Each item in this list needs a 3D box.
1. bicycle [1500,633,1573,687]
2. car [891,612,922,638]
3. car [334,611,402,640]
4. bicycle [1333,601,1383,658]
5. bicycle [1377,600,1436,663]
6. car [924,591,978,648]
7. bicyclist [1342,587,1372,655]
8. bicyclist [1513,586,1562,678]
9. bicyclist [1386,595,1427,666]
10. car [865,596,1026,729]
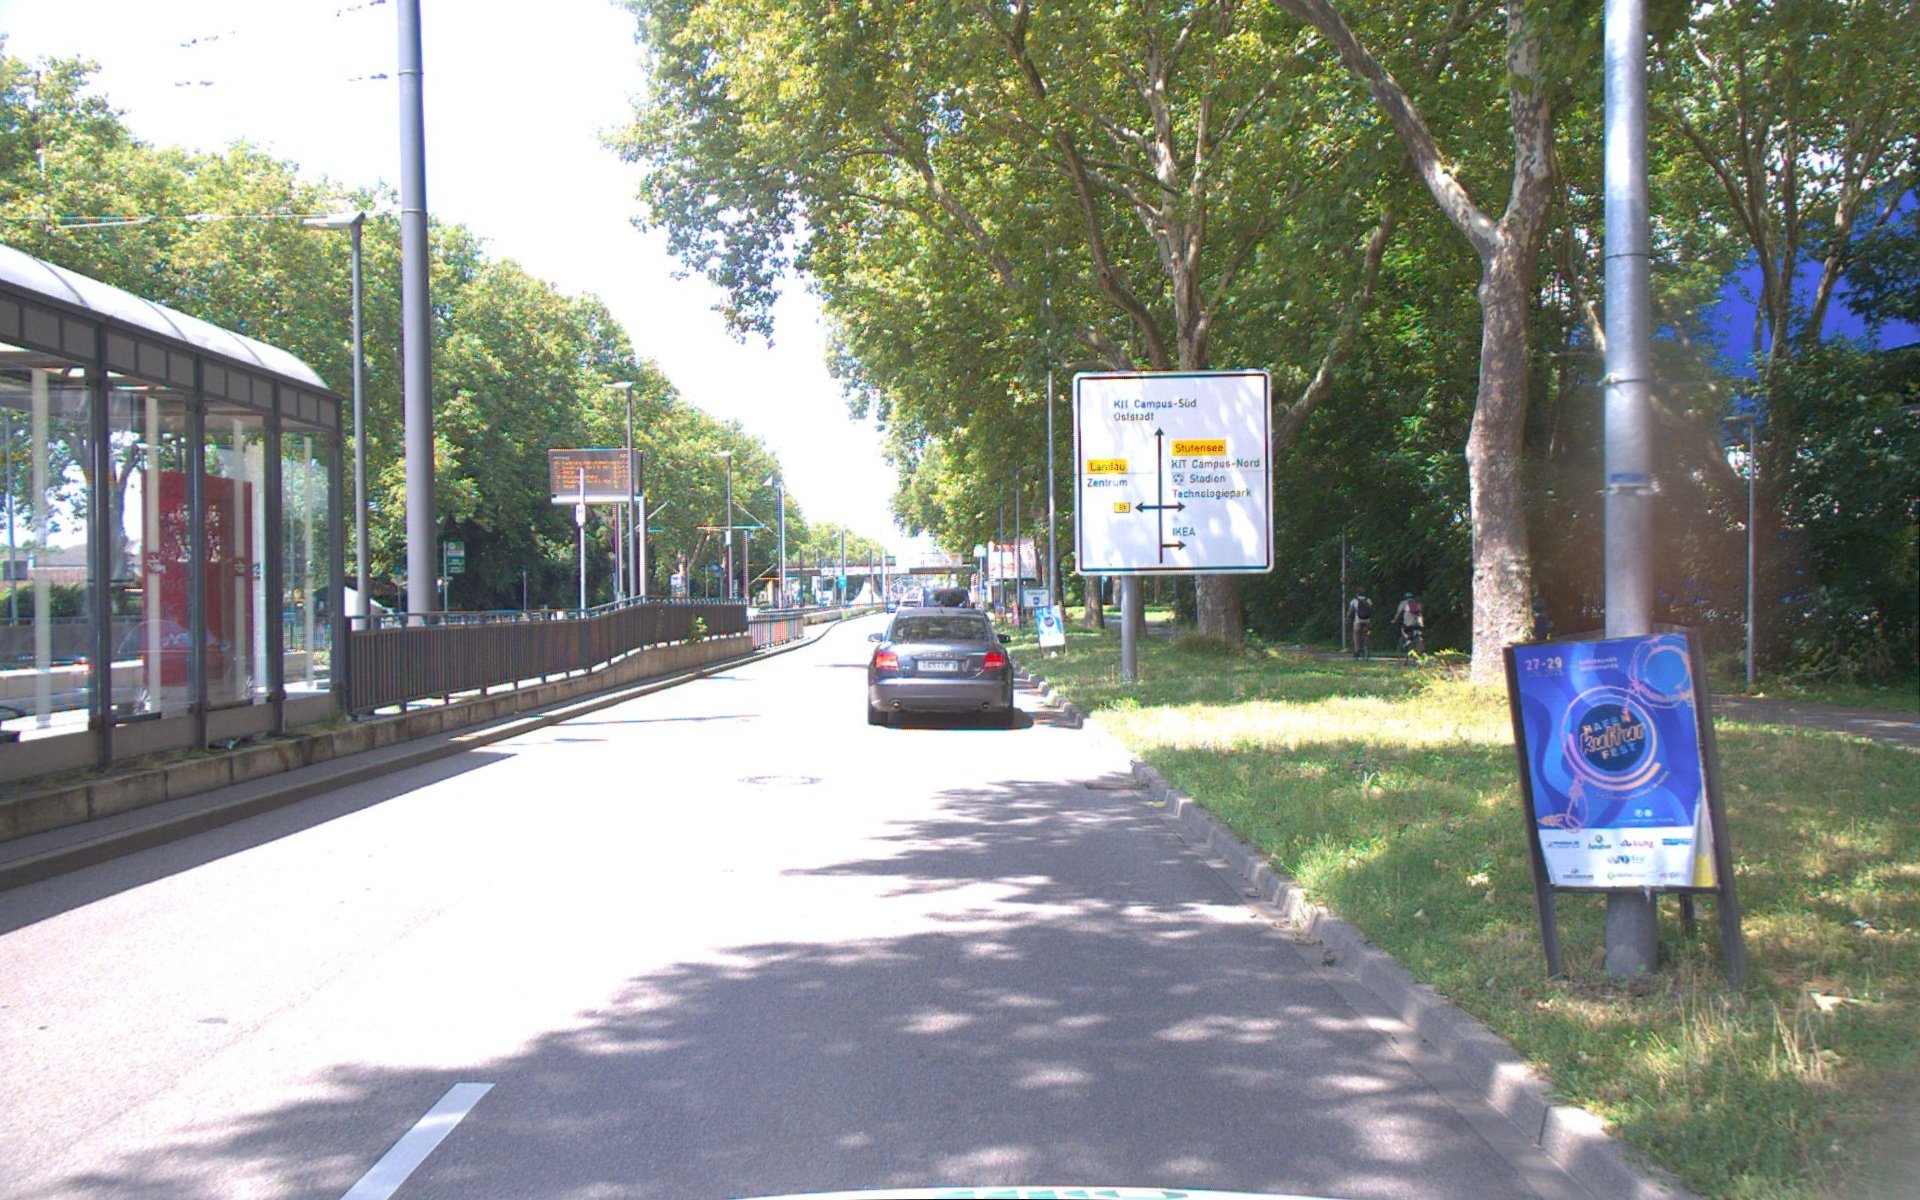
[{"bbox_3d":[10.380,1.060,29.843,0.632,0.902,2.023,-1,0,1],"label":"bicycle"},{"bbox_3d":[-3.259,1.508,100.644,1.808,1.490,3.998,-1,0,-2],"label":"car"},{"bbox_3d":[-31.997,1.374,89.436,3.258,1.501,1.649,-1,0,-12],"label":"car"},{"bbox_3d":[10.423,0.759,43.389,0.598,1.444,2.661,-1,0,-1],"label":"bicycle"},{"bbox_3d":[10.494,0.717,38.970,0.598,1.444,2.661,-1,0,-1],"label":"bicycle"},{"bbox_3d":[-0.287,0.681,60.270,1.810,1.994,4.145,1,0,1],"label":"car"},{"bbox_3d":[10.449,0.552,43.510,0.585,1.776,0.843,0,0,-1],"label":"bicyclist"},{"bbox_3d":[10.420,0.565,29.861,0.610,1.638,0.817,0,0,0],"label":"bicyclist"},{"bbox_3d":[10.490,0.710,38.889,0.645,1.627,1.053,-1,-1,0],"label":"bicyclist"},{"bbox_3d":[-0.278,0.800,21.244,1.806,1.510,3.996,1,-2,-4],"label":"car"}]
